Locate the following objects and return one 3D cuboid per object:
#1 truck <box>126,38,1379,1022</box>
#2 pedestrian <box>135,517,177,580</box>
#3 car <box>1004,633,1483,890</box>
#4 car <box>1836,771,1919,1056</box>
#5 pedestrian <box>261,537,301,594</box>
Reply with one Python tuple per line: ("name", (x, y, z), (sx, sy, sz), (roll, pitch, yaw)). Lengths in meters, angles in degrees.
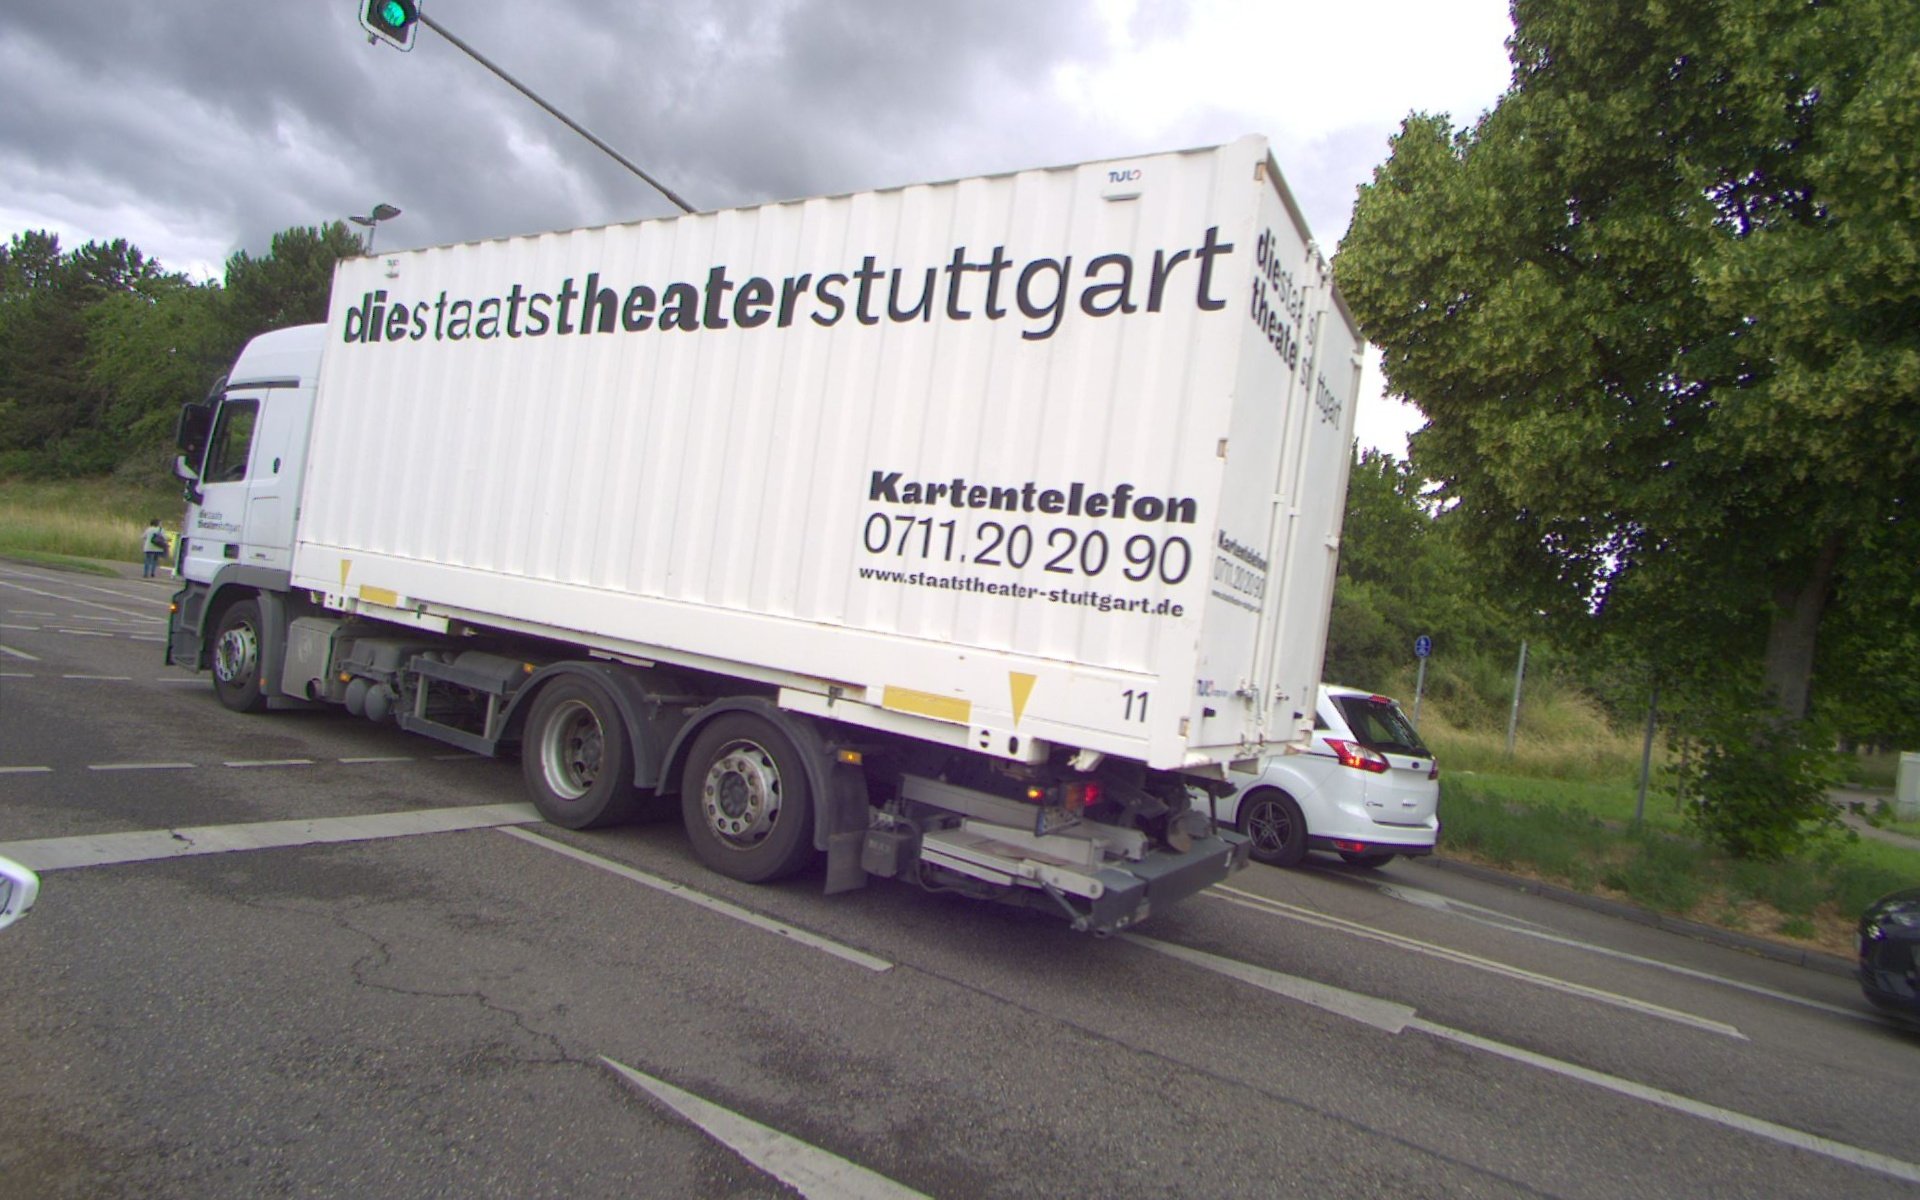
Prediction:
("truck", (-2.522, -0.670, 7.859), (10.013, 3.949, 2.808), (7, -1, 32))
("pedestrian", (-22.850, -1.453, 28.592), (0.703, 1.681, 0.644), (6, -1, 38))
("car", (2.593, 1.457, 10.189), (1.752, 1.673, 4.325), (10, -3, -37))
("car", (7.139, 2.012, 5.357), (3.511, 1.524, 1.603), (6, -2, 38))
("pedestrian", (-20.696, -1.044, 30.668), (0.703, 1.630, 0.644), (6, -1, 37))
